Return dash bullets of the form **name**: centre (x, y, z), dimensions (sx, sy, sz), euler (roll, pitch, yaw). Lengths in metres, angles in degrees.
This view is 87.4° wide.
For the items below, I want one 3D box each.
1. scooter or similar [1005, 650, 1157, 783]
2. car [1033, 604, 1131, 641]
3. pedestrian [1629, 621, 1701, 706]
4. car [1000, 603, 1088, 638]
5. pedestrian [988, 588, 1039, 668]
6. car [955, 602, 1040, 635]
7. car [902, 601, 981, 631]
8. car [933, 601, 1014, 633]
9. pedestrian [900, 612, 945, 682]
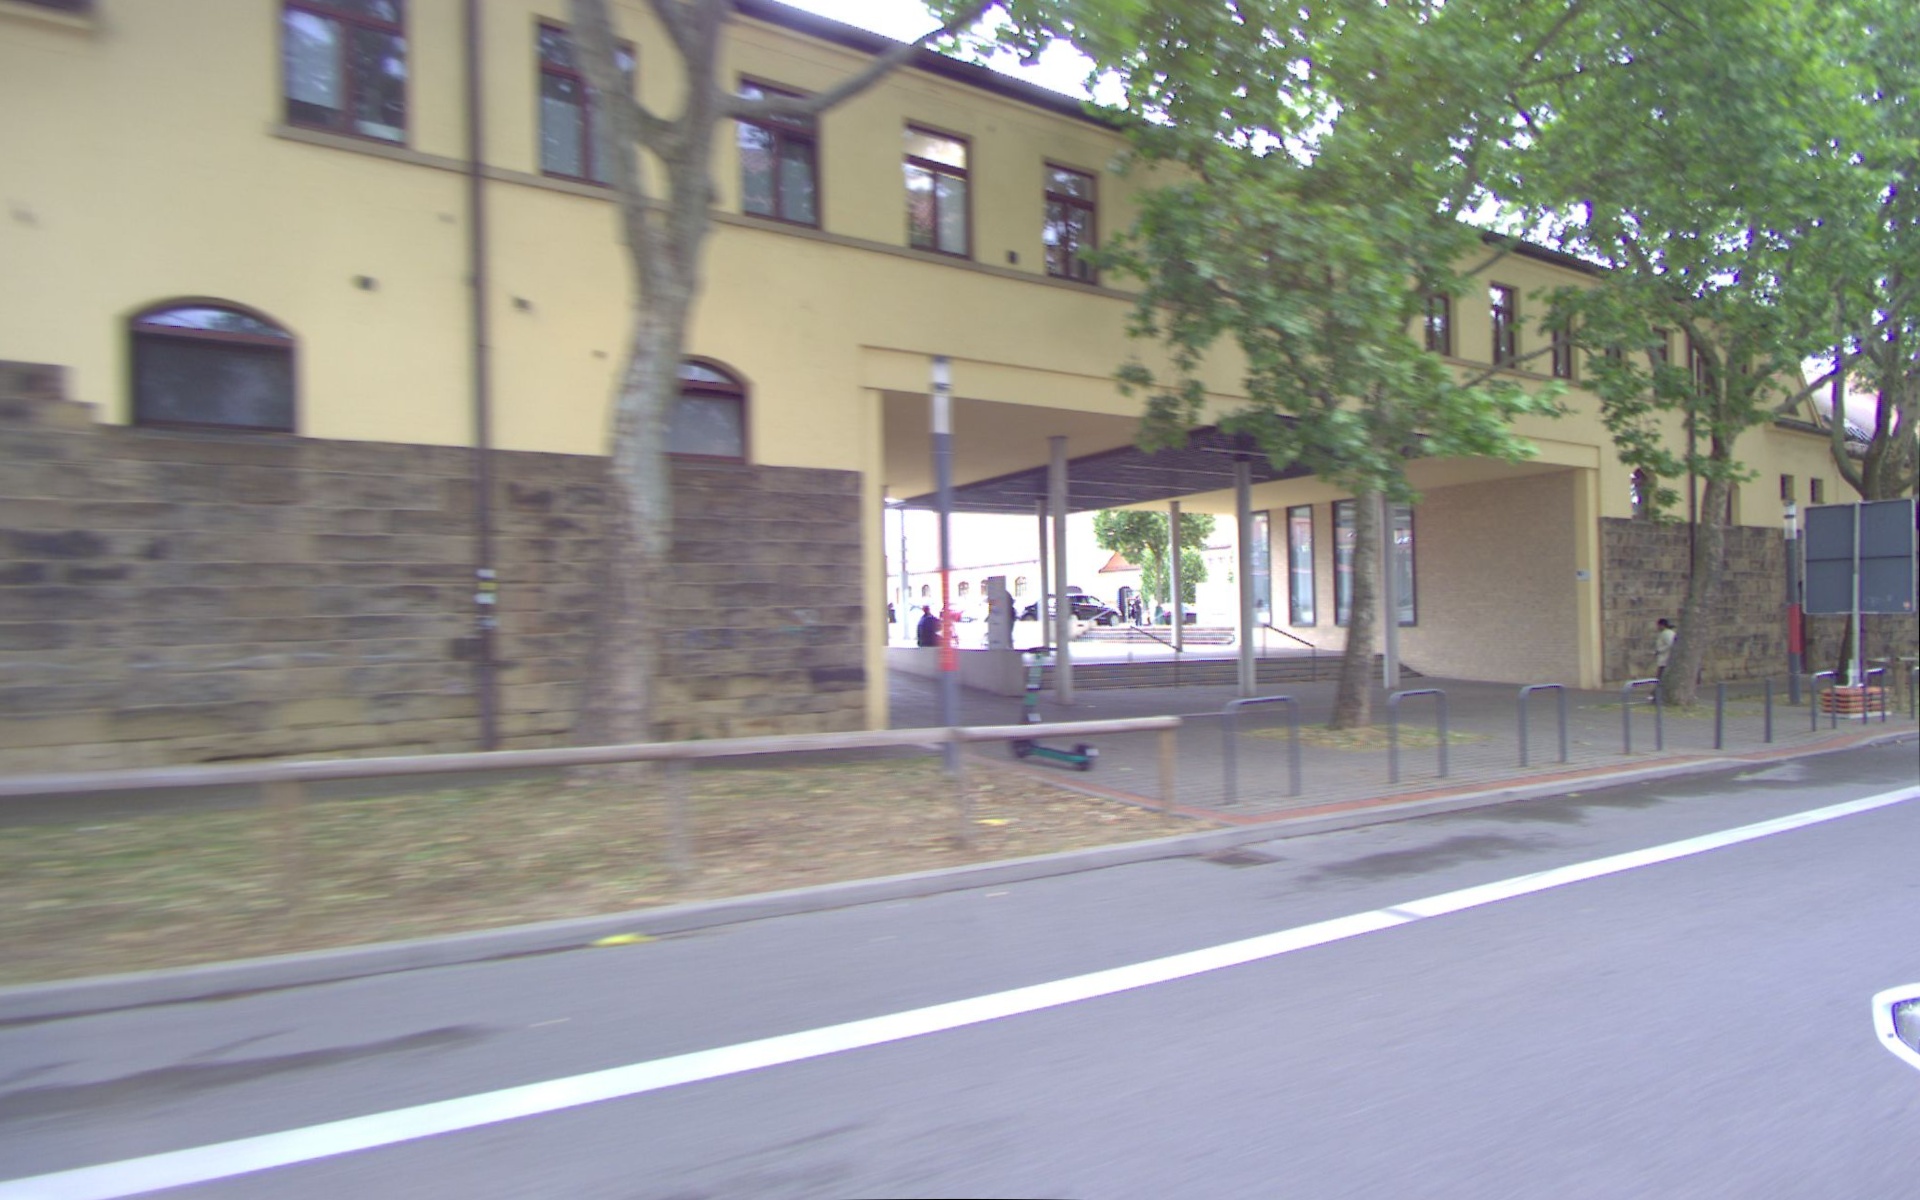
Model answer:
- **scooter or similar**: centre (1.270, 1.201, 10.746), dimensions (1.595, 1.256, 0.445), euler (1, 0, 37)
- **car**: centre (5.231, 0.954, 42.832), dimensions (3.965, 1.499, 1.978), euler (1, 0, -39)
- **pedestrian**: centre (14.789, 1.321, 21.082), dimensions (0.913, 1.710, 0.860), euler (1, 0, -22)
- **car**: centre (3.791, 0.927, 45.226), dimensions (3.777, 1.499, 1.689), euler (1, 0, -35)
- **pedestrian**: centre (1.241, 0.647, 23.439), dimensions (0.892, 1.814, 0.806), euler (1, 0, -26)
- **car**: centre (1.789, 0.877, 47.320), dimensions (3.777, 1.499, 1.689), euler (1, 0, -35)
- **car**: centre (-0.947, 0.827, 52.006), dimensions (3.777, 1.499, 1.689), euler (1, 0, -35)
- **car**: centre (0.681, 0.863, 49.847), dimensions (3.777, 1.499, 1.689), euler (1, 0, -35)
- **pedestrian**: centre (-0.836, 1.049, 22.265), dimensions (0.751, 1.508, 0.571), euler (3, -1, -30)
